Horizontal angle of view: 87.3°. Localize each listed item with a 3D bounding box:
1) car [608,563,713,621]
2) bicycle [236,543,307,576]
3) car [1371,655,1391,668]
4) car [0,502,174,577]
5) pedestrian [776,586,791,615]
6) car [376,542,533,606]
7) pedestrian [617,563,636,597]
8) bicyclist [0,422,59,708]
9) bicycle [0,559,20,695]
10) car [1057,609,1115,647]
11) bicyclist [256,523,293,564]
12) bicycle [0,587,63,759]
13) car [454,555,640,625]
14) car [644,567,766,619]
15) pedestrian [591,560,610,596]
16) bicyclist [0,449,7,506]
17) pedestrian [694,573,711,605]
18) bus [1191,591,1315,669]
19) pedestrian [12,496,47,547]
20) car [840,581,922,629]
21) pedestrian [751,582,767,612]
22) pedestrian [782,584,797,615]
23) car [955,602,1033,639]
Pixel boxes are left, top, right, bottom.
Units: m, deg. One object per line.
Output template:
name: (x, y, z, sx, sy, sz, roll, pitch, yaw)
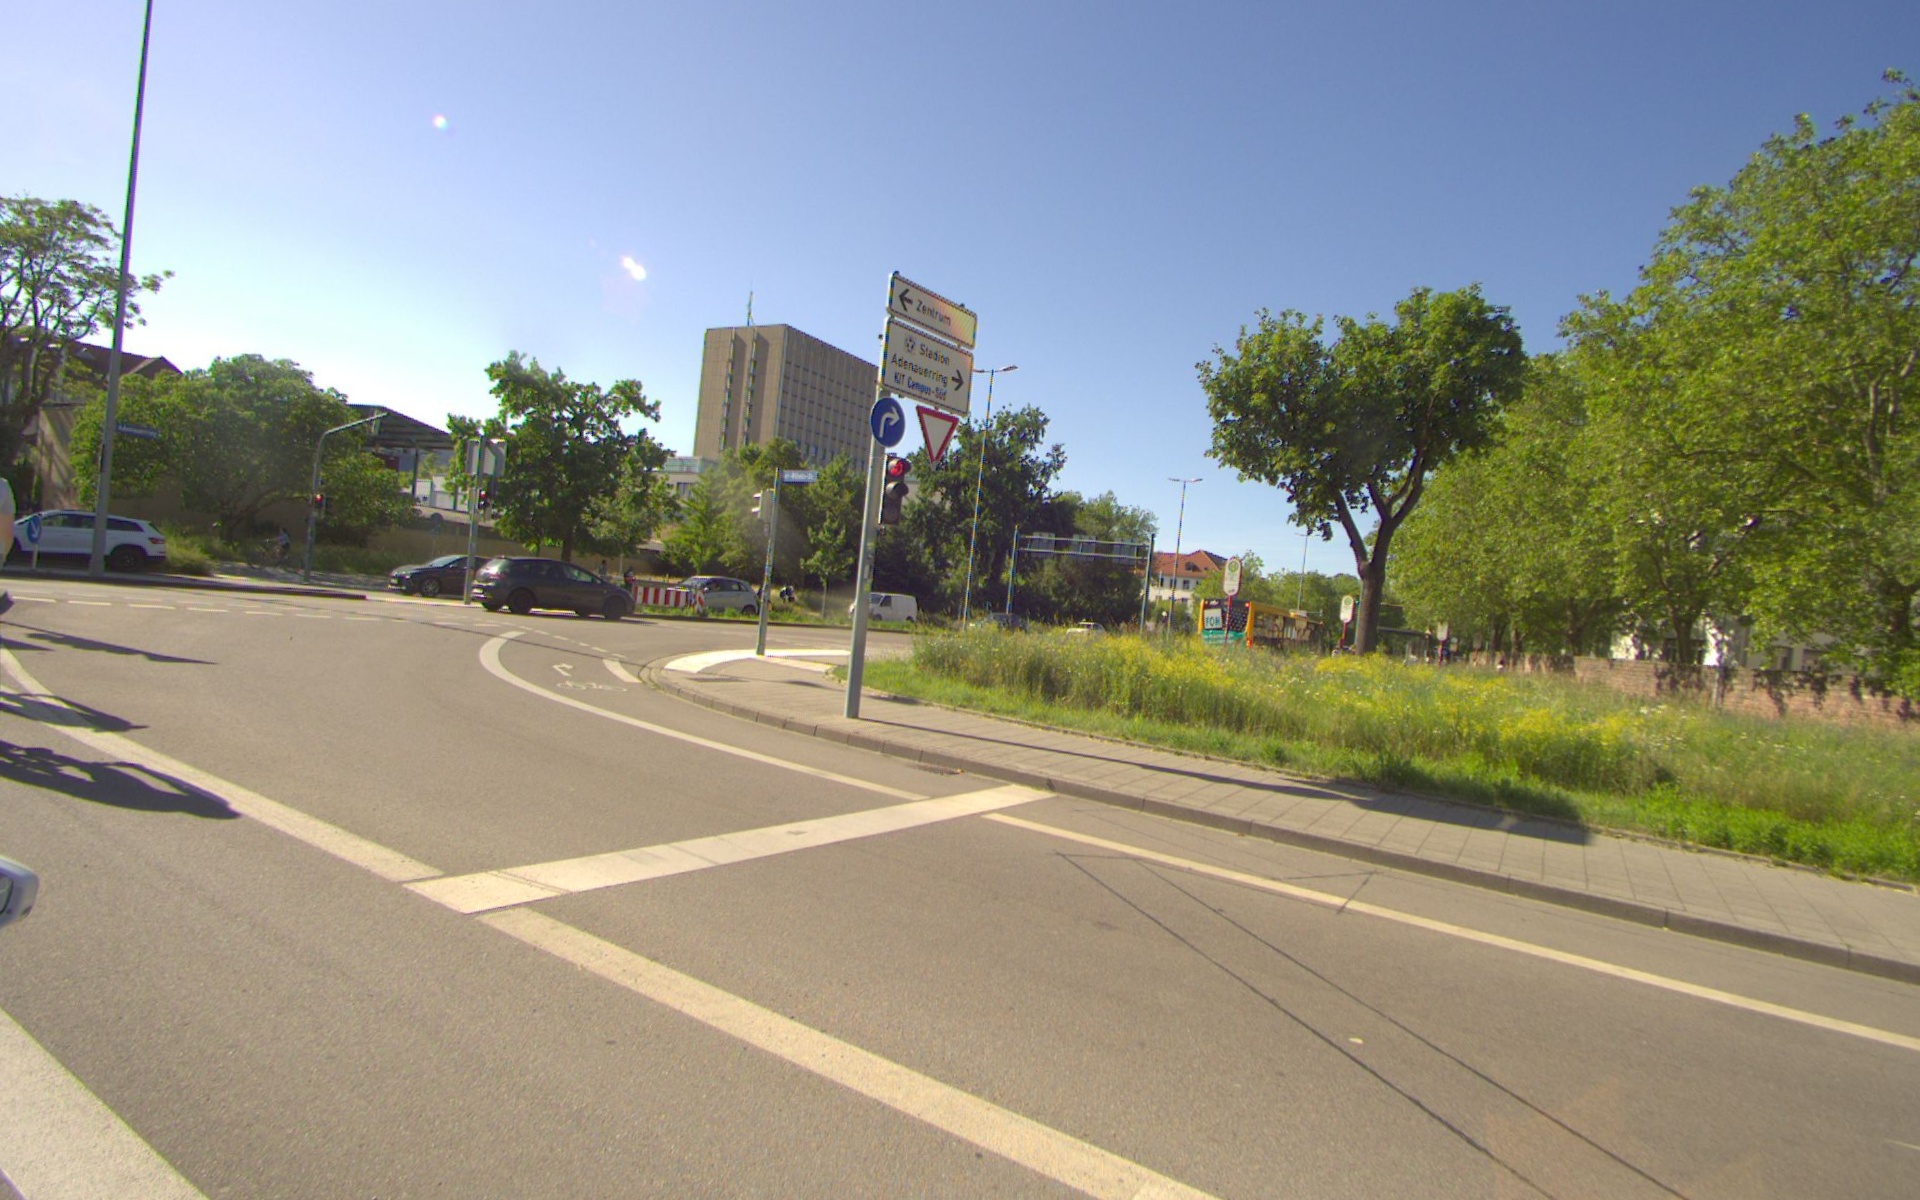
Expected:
car: (-13.611, -0.333, 45.919, 1.971, 2.037, 3.986, 6, -2, 40)
bicycle: (-26.051, -1.533, 38.112, 0.590, 0.976, 2.074, 7, 0, 39)
car: (52.084, 7.654, 124.427, 1.812, 1.405, 4.066, 4, -2, 27)
car: (-25.811, -1.788, 28.856, 1.818, 1.652, 4.818, 6, -1, 40)
pedestrian: (-10.870, 0.051, 61.984, 0.519, 1.716, 0.561, 7, 1, 35)
car: (-17.286, -0.854, 34.545, 1.818, 1.652, 4.366, 6, -1, 41)
pedestrian: (-17.410, -1.028, 52.524, 0.519, 1.716, 0.561, 7, 1, 35)
bicyclist: (-6.214, -0.266, 6.085, 1.000, 1.688, 0.752, 6, -1, 33)
bicycle: (-8.204, 0.088, 7.768, 1.935, 1.014, 0.661, 6, -1, 26)
car: (9.199, 2.091, 73.217, 1.969, 2.186, 4.783, 6, -2, 35)
bicyclist: (-25.958, -2.138, 38.099, 0.590, 1.447, 0.935, 7, 1, 39)
bicycle: (-6.294, 0.345, 6.084, 1.946, 0.906, 0.741, 6, -2, 33)
car: (-10.714, -0.234, 26.283, 1.819, 1.404, 4.051, 3, -3, 41)
car: (-9.429, -0.234, 37.423, 1.840, 1.426, 4.046, 6, 0, 38)
pedestrian: (-18.053, -1.098, 50.489, 0.519, 1.716, 0.561, 7, 1, 35)
bicyclist: (-8.138, -0.373, 7.773, 1.048, 1.759, 0.647, 7, -1, 26)
pedestrian: (-14.566, -0.638, 56.959, 0.519, 1.716, 0.561, 7, 1, 35)
bus: (14.320, 1.585, 48.423, 2.751, 2.662, 10.097, 6, -2, 33)
pedestrian: (-31.769, -2.690, 34.353, 0.590, 1.623, 0.735, 7, 1, 44)
car: (-4.543, 0.329, 58.548, 1.968, 2.131, 4.886, 6, -2, 34)
pedestrian: (-11.973, -0.175, 59.959, 0.519, 1.716, 0.561, 7, 1, 35)
pedestrian: (-10.410, -0.023, 61.448, 0.519, 1.800, 0.561, 7, 1, 35)
car: (1.909, 1.148, 54.590, 1.967, 1.604, 4.737, 6, 0, 32)
